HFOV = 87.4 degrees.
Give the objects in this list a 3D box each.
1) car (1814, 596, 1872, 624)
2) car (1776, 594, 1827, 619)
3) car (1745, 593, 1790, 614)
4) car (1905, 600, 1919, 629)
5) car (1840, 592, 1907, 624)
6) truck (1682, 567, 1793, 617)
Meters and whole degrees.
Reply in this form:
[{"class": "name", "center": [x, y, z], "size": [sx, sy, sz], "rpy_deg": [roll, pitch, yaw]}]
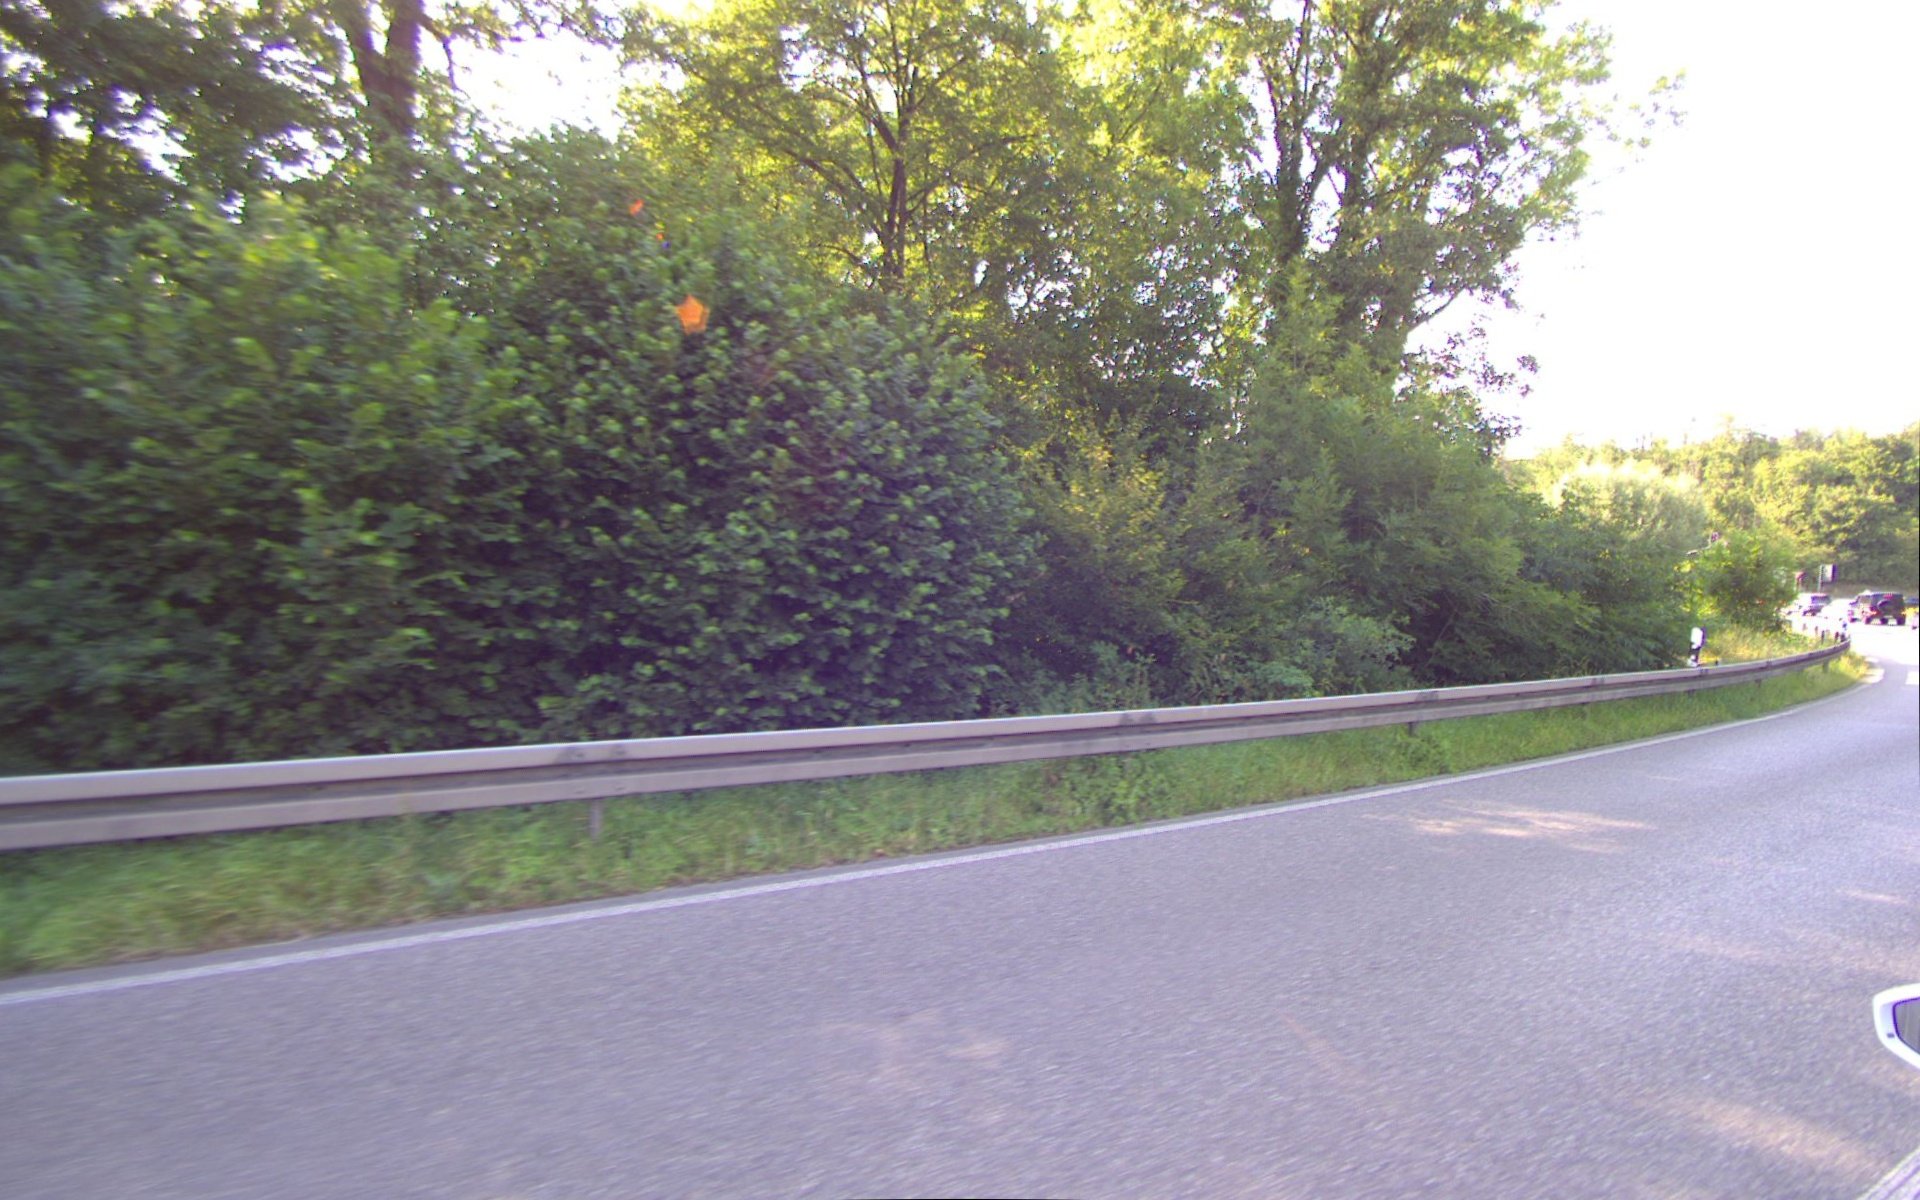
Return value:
[{"class": "car", "center": [60.954, 0.683, 69.431], "size": [1.838, 1.706, 3.996], "rpy_deg": [4, 3, 24]}, {"class": "car", "center": [63.499, 0.460, 75.838], "size": [1.838, 1.616, 3.996], "rpy_deg": [4, 3, 25]}, {"class": "car", "center": [67.272, 0.257, 83.756], "size": [1.838, 1.586, 3.997], "rpy_deg": [4, 2, 23]}, {"class": "car", "center": [53.106, 0.802, 54.423], "size": [1.840, 1.586, 3.993], "rpy_deg": [0, 1, 29]}, {"class": "car", "center": [57.138, 0.469, 62.887], "size": [1.926, 1.876, 3.996], "rpy_deg": [0, 1, 24]}, {"class": "truck", "center": [81.233, -0.858, 105.023], "size": [10.059, 4.647, 3.015], "rpy_deg": [2, 2, -11]}]
